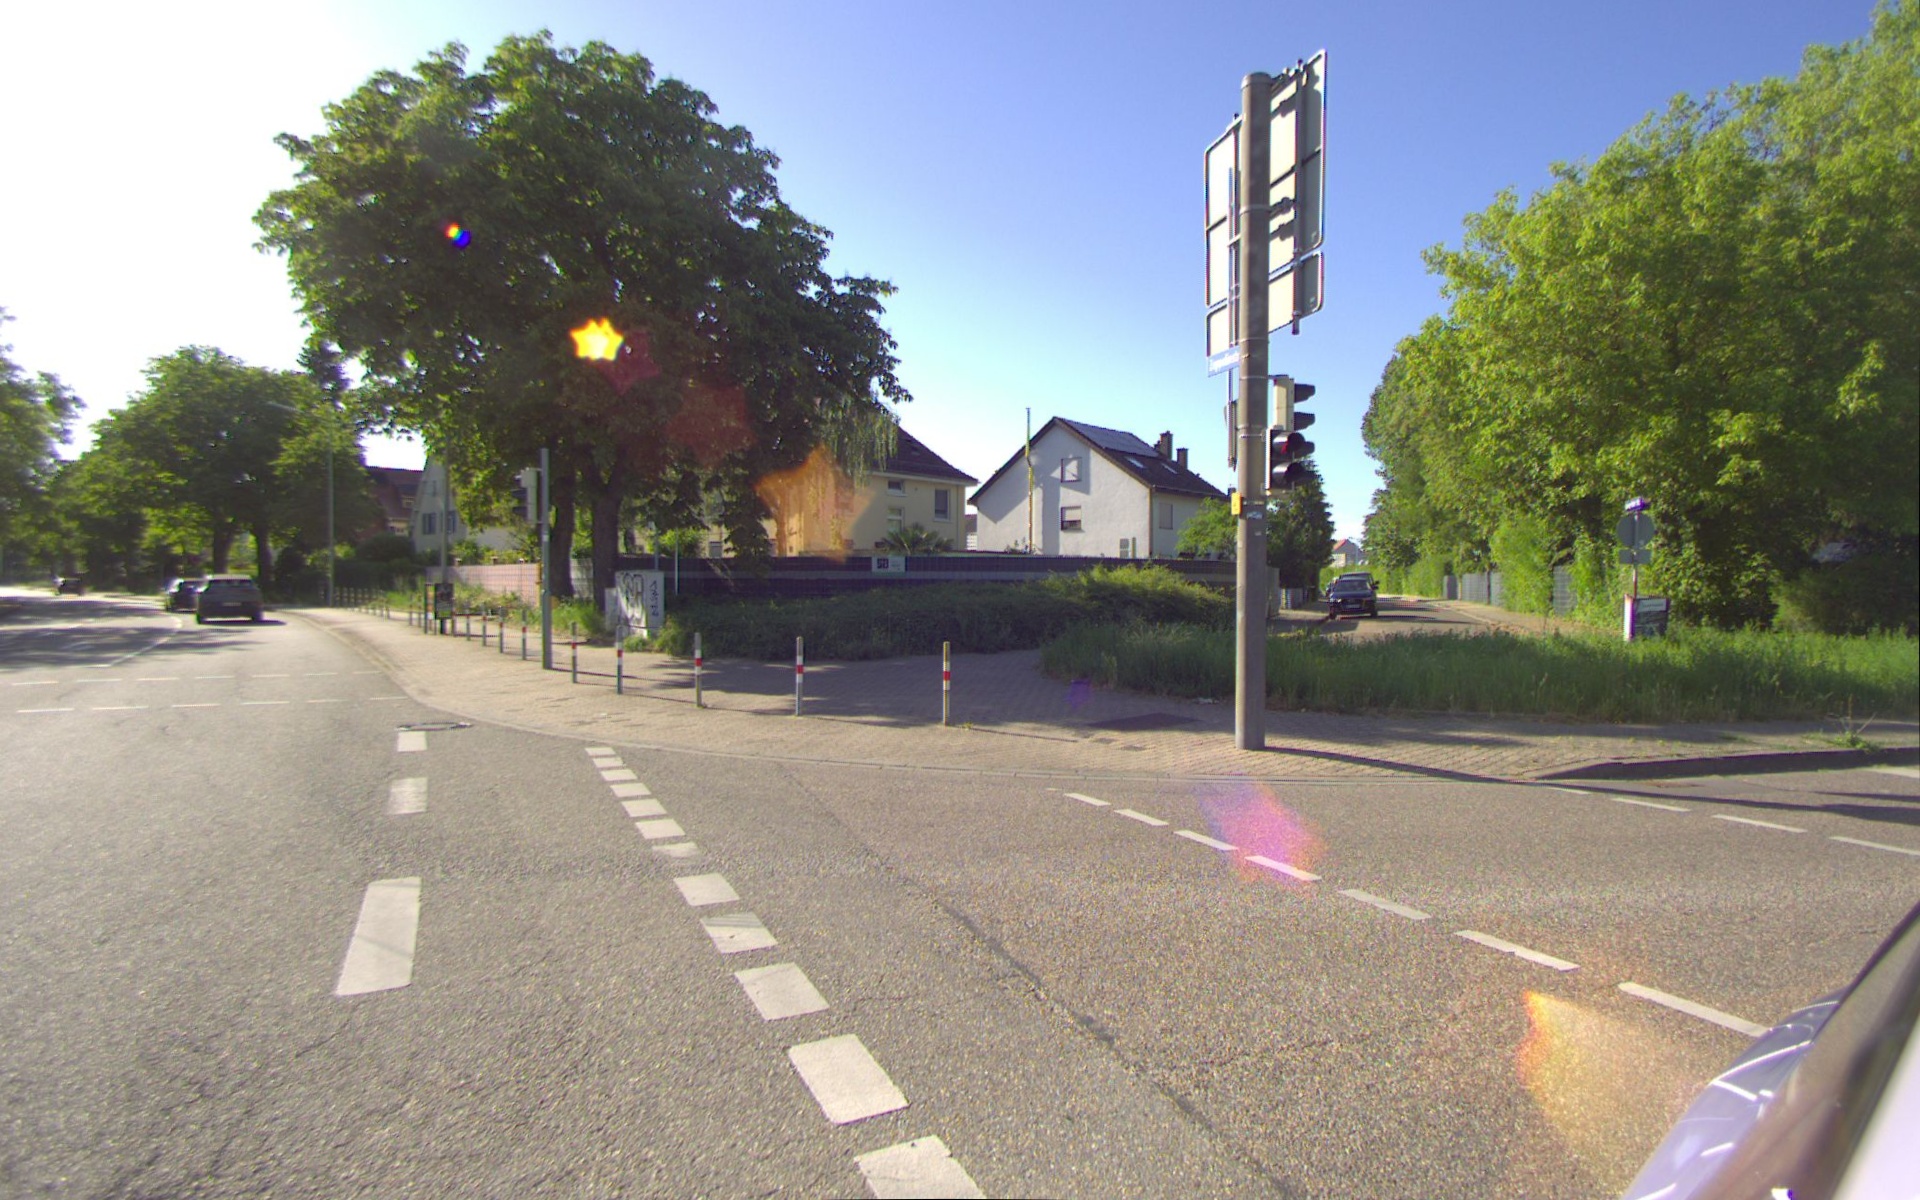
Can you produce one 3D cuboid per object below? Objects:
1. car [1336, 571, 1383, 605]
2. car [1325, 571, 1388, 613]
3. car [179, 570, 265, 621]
[{"bbox_3d":[20.613,-0.652,52.134,1.944,1.687,3.964,1,1,27],"label":"car"},{"bbox_3d":[15.819,-0.335,40.241,1.980,1.576,3.964,-1,1,27],"label":"car"},{"bbox_3d":[-25.205,-0.167,34.506,1.832,1.655,4.246,0,0,-44],"label":"car"}]
